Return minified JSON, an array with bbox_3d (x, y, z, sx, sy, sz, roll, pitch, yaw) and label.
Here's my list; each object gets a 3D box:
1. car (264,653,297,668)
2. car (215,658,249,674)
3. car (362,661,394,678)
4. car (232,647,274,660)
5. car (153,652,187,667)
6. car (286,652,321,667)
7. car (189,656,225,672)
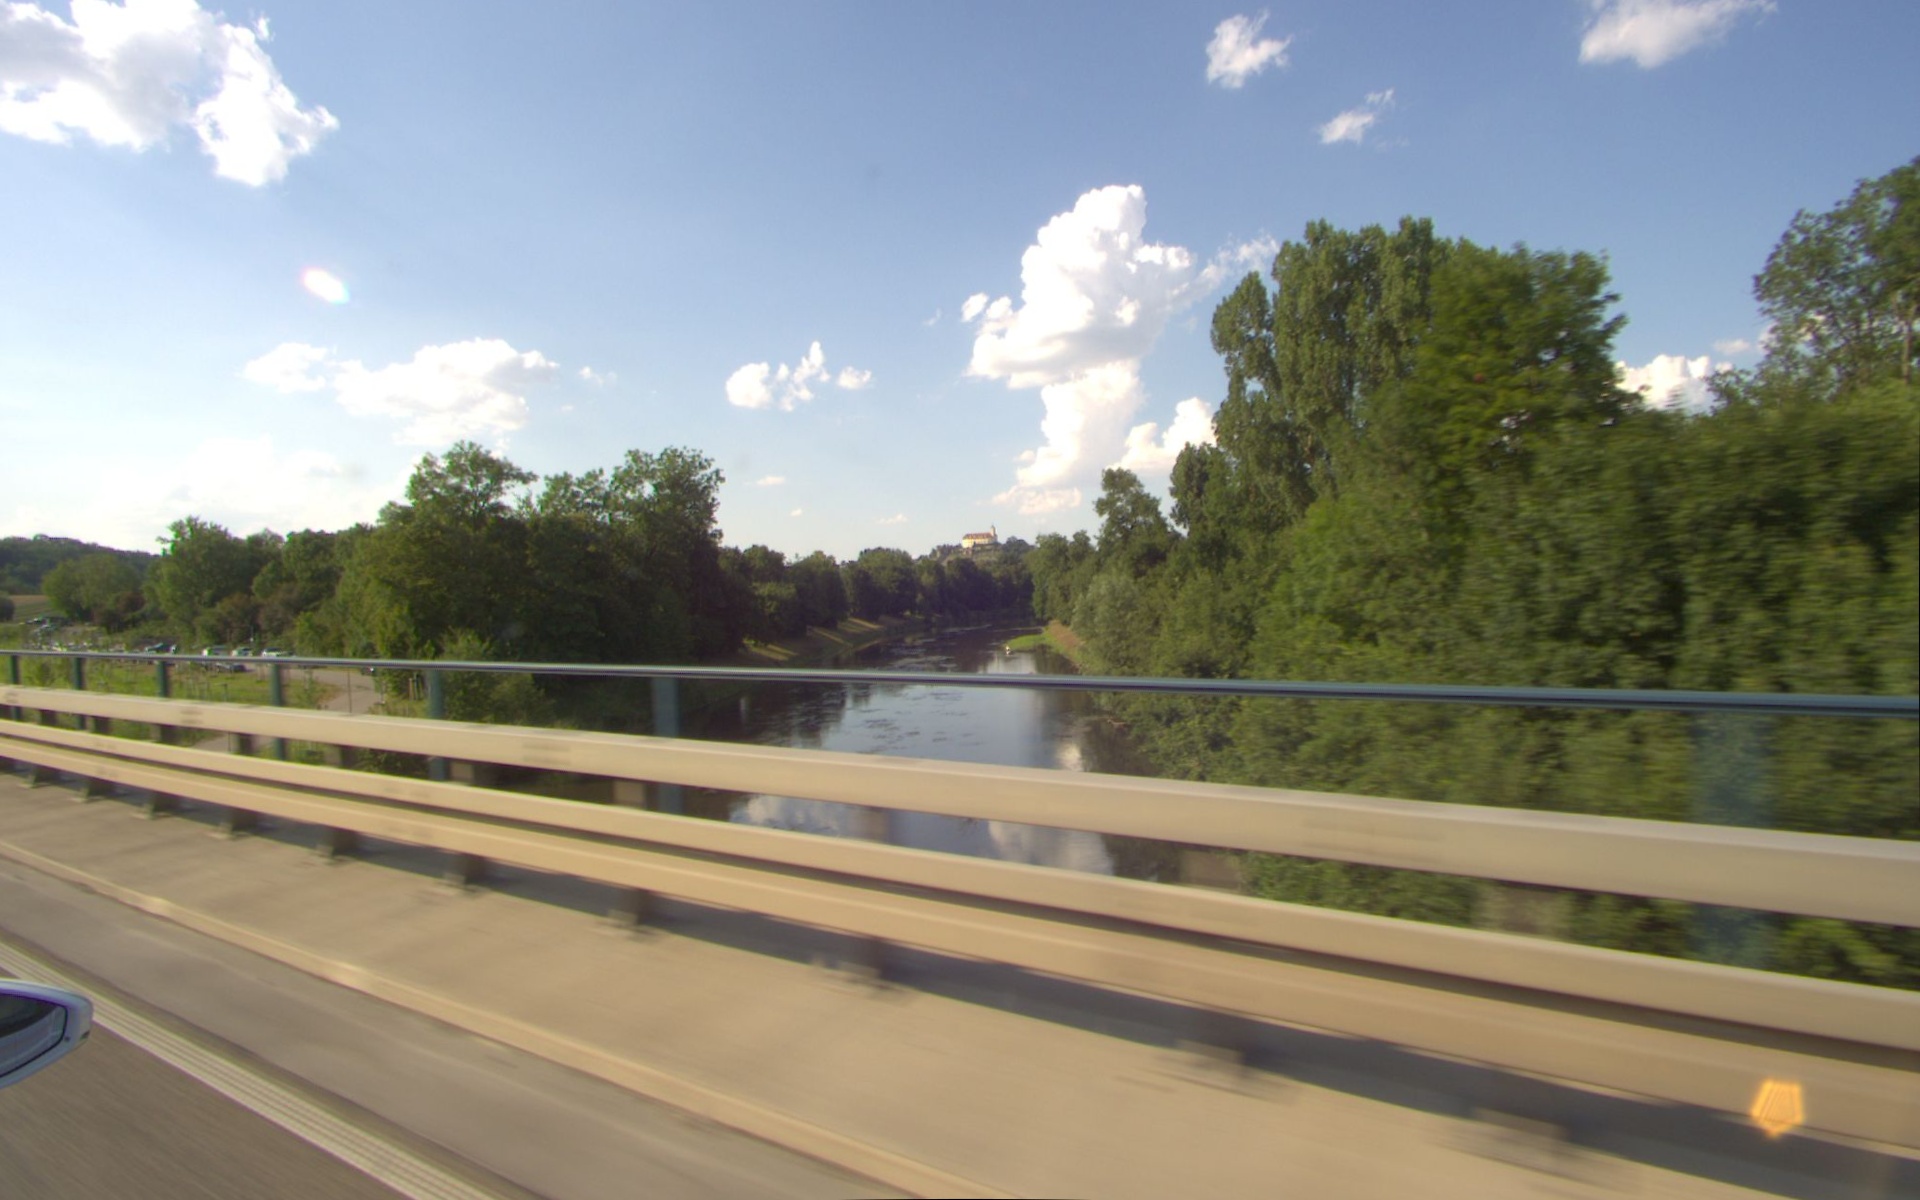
[{"bbox_3d":[-78.431,6.973,115.546,4.646,1.688,1.649,-1,-1,36],"label":"car"},{"bbox_3d":[-80.329,7.270,110.521,4.163,1.516,1.651,-1,-1,32],"label":"car"},{"bbox_3d":[-58.907,7.038,101.326,3.786,1.516,1.646,-2,-1,42],"label":"car"},{"bbox_3d":[-94.491,7.136,133.842,1.706,1.475,4.402,1,0,24],"label":"car"},{"bbox_3d":[-95.273,7.208,120.801,4.193,1.502,1.814,0,2,30],"label":"car"},{"bbox_3d":[-73.426,6.632,111.958,4.163,1.516,1.651,-1,-1,32],"label":"car"},{"bbox_3d":[-85.720,7.266,113.970,4.193,1.420,1.814,0,2,30],"label":"car"}]
